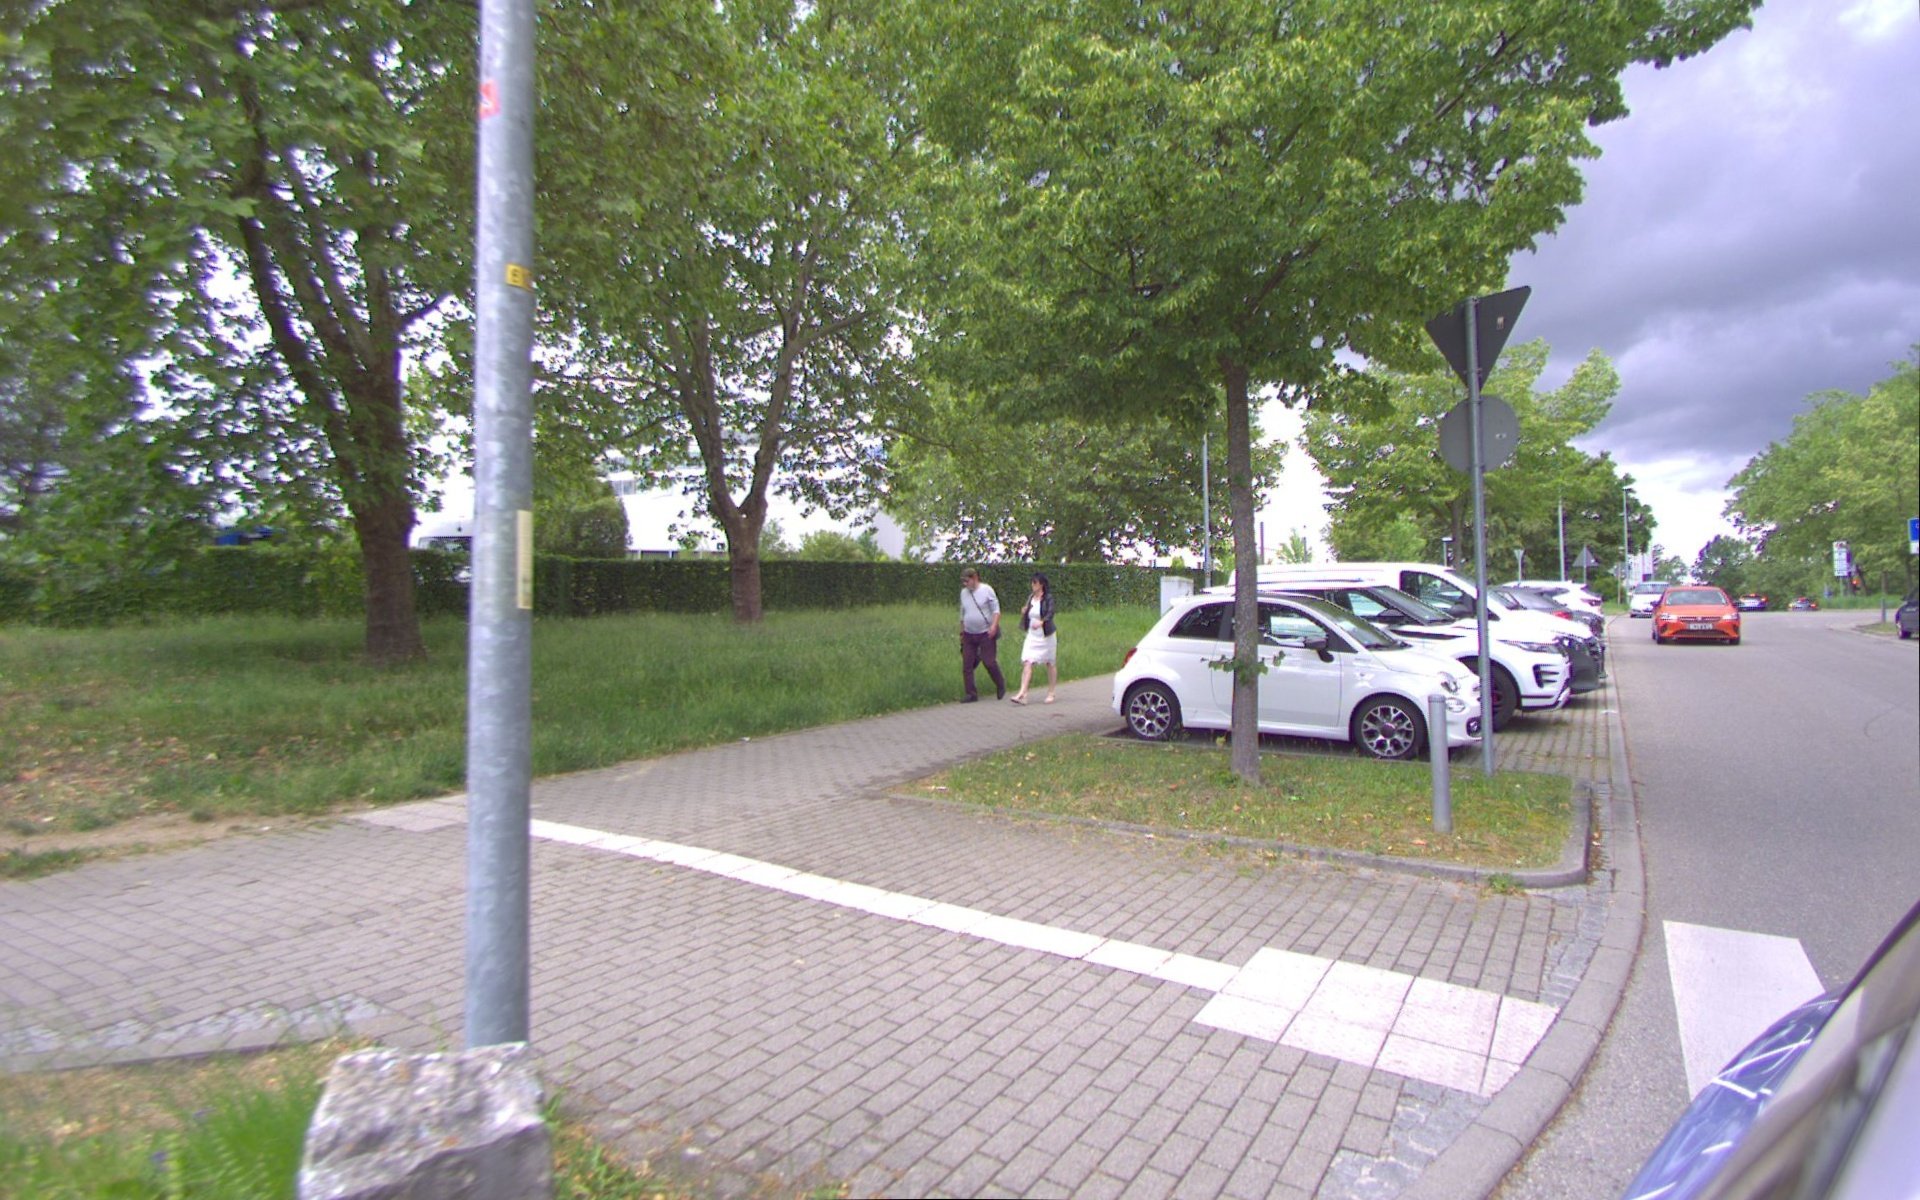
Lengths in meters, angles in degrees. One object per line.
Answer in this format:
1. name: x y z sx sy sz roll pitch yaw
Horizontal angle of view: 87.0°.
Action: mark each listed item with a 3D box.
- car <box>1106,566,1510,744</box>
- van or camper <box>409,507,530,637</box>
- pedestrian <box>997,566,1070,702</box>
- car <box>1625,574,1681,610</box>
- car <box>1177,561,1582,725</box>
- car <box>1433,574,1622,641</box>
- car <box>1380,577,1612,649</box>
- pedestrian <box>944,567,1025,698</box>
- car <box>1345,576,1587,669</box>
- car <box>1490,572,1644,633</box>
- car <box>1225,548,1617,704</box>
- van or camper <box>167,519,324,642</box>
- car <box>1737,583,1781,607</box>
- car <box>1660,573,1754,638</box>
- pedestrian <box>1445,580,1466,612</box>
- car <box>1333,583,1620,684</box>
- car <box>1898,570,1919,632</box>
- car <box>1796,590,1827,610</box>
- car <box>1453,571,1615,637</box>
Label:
1. car: 3.431 0.477 10.152 3.499 1.480 1.717 -1 0 35
2. van or camper: -11.750 -0.593 24.554 2.071 2.834 4.488 -1 -1 -19
3. pedestrian: 0.935 0.426 12.907 0.686 1.678 0.593 -2 -1 33
4. car: 31.271 -0.356 45.650 1.751 1.535 3.944 -2 -1 39
5. car: 4.855 0.477 11.917 4.133 1.623 1.718 -2 -1 34
6. car: 14.224 0.209 25.453 3.971 1.538 1.862 -2 0 34
7. car: 12.278 0.273 23.336 4.554 1.511 1.930 -1 1 32
8. pedestrian: 0.325 0.422 13.388 0.865 1.678 0.586 -2 -1 33
9. car: 9.278 0.334 18.626 3.810 1.539 1.889 1 1 34
10. car: 17.541 0.081 29.304 3.660 1.593 1.573 -1 3 37
11. car: 6.316 0.262 14.137 4.759 1.854 1.819 1 1 36
12. van or camper: -18.046 -0.435 25.844 2.071 2.834 4.488 -1 -1 -19
13. car: 60.212 -0.385 76.356 1.887 1.602 4.124 4 2 30
14. car: 19.292 0.115 26.077 1.751 1.534 3.944 -2 0 39
15. pedestrian: 27.126 -0.208 55.414 0.749 1.744 0.885 -2 -1 6
16. car: 8.116 0.434 16.012 3.815 1.388 1.819 1 1 37
17. car: 23.873 -0.029 24.018 1.683 1.507 3.904 -5 -3 34
18. car: 67.868 -0.033 80.712 1.751 1.535 3.944 -2 -1 39
19. car: 15.525 0.075 27.415 3.660 1.667 1.827 0 0 37
